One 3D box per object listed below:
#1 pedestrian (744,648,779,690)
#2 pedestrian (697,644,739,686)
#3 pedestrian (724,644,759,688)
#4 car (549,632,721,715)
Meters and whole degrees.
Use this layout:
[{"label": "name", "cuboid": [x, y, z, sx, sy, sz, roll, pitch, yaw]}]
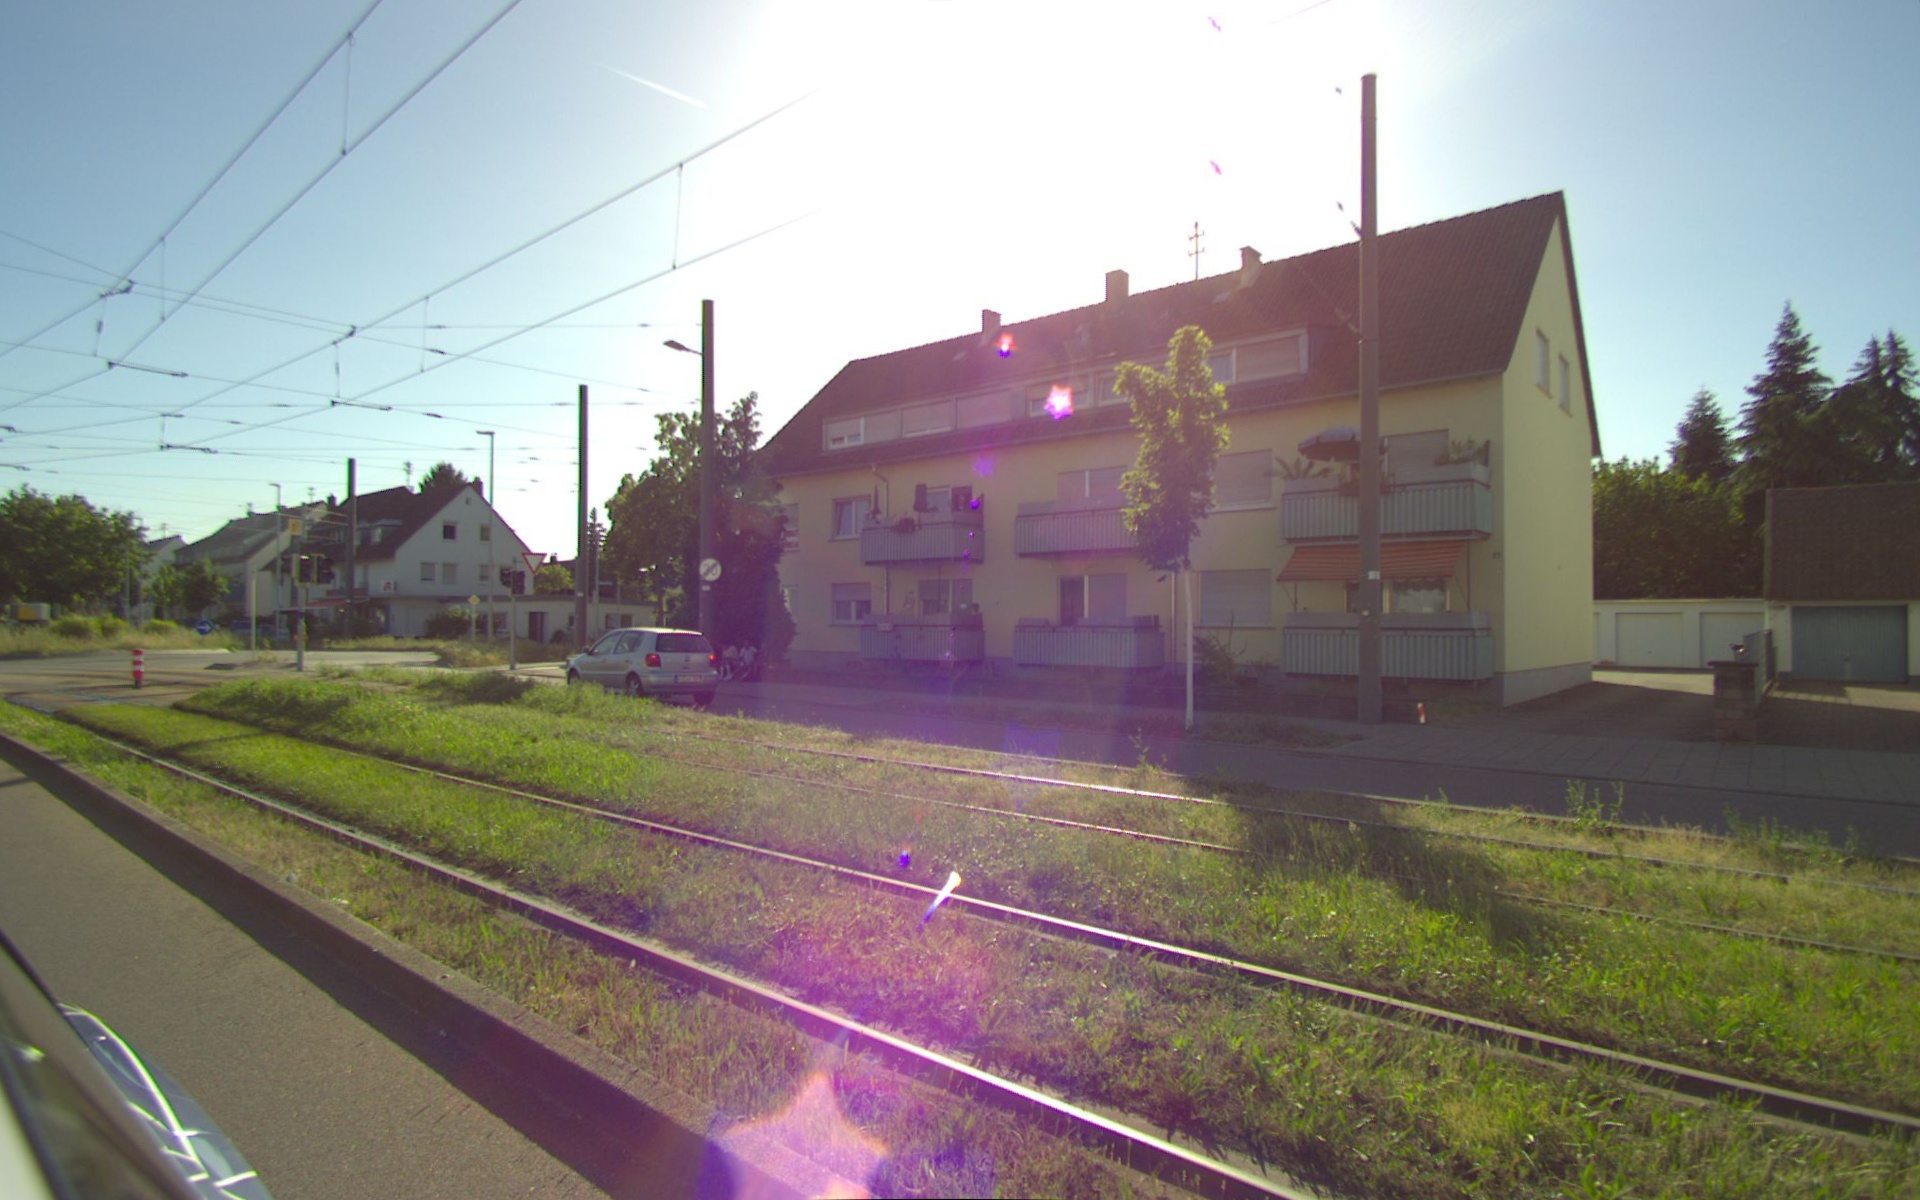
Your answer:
[{"label": "pedestrian", "cuboid": [-5.042, 1.757, 25.751, 0.590, 1.013, 0.720, 1, -1, 17]}, {"label": "pedestrian", "cuboid": [-6.361, 1.708, 26.610, 0.687, 1.054, 0.809, 0, -2, 38]}, {"label": "pedestrian", "cuboid": [-5.646, 1.691, 26.127, 0.619, 1.073, 0.818, 1, -1, 8]}, {"label": "car", "cuboid": [-6.289, 1.342, 19.435, 3.658, 1.422, 1.533, -2, -3, 42]}]
